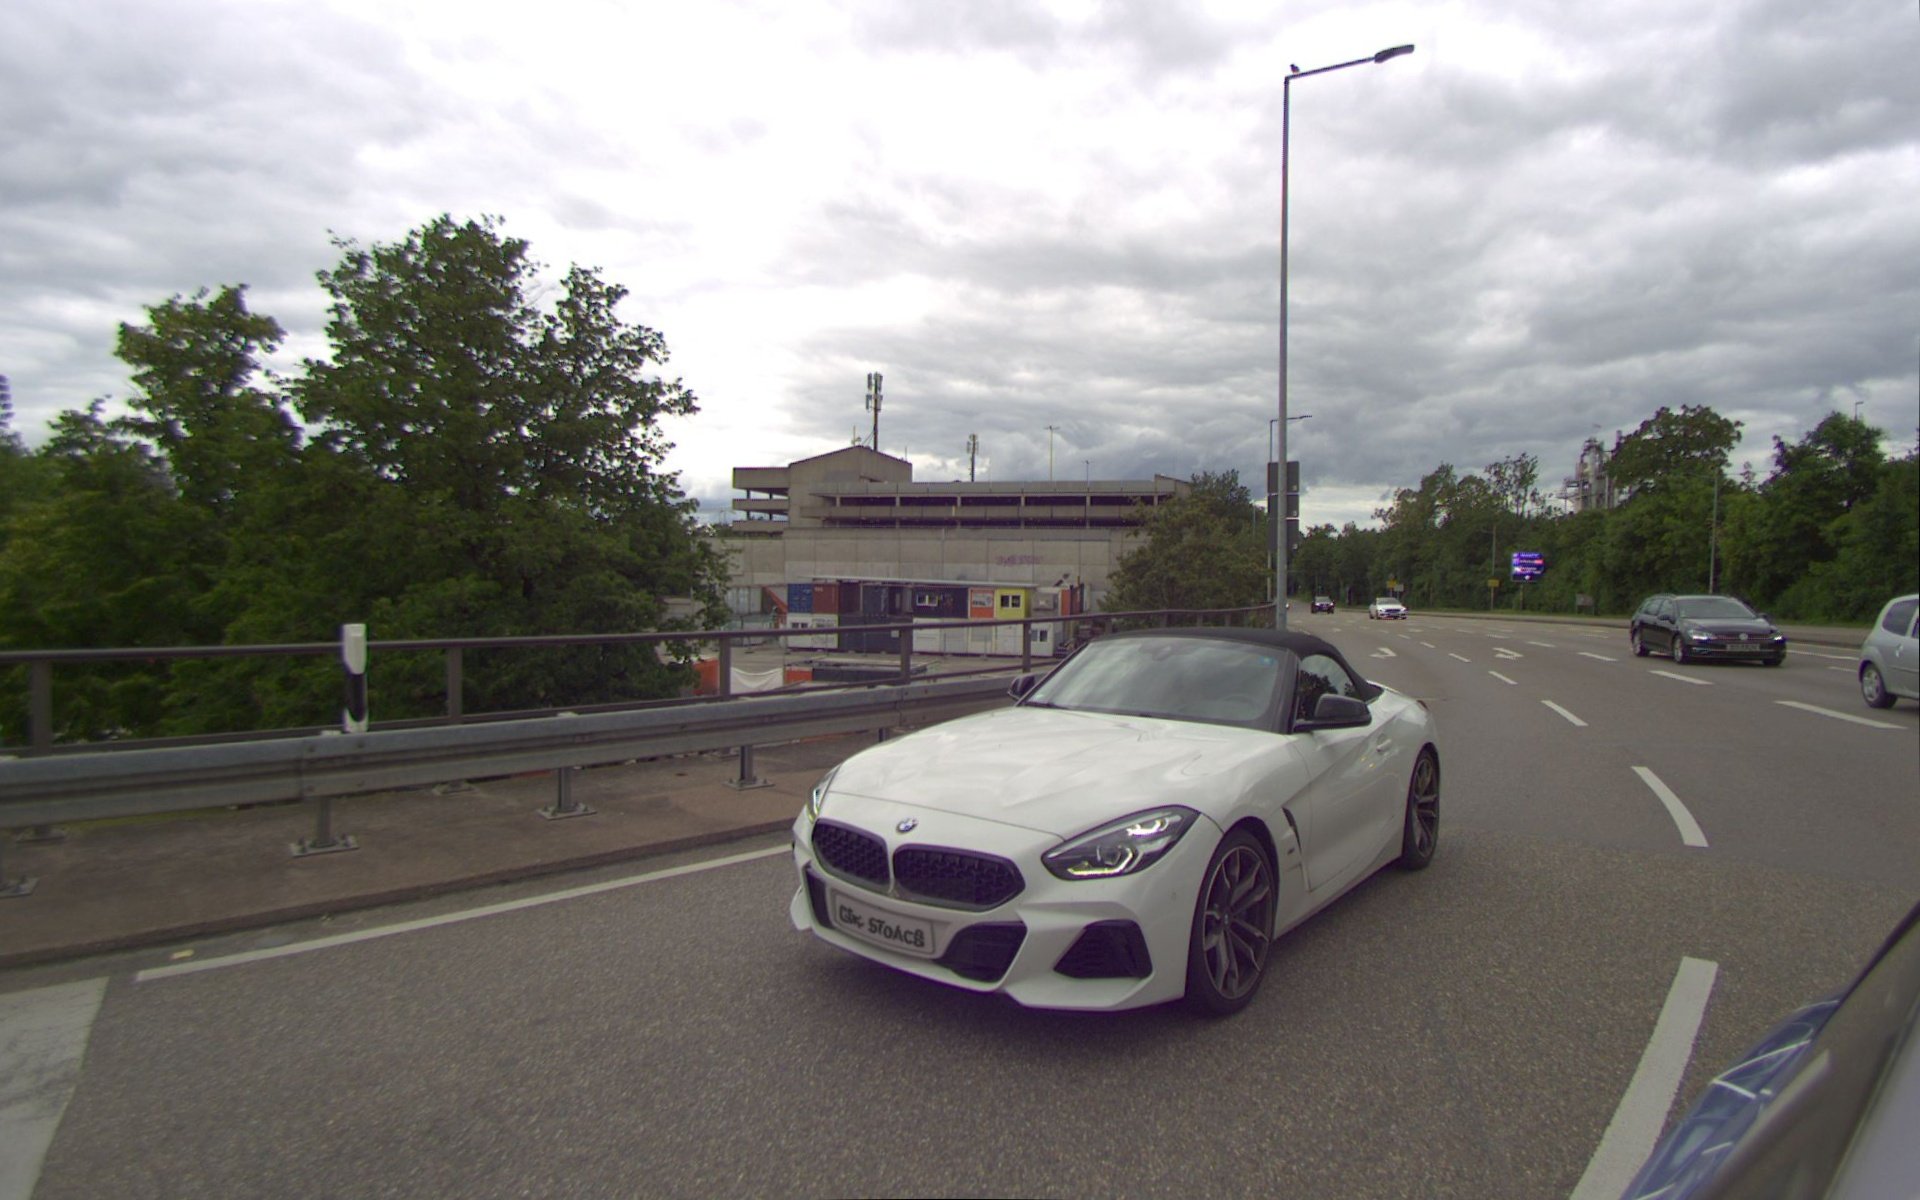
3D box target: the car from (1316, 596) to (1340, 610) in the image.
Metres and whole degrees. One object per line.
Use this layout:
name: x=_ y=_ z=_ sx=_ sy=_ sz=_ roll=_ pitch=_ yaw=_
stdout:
car: x=36.919 y=0.288 z=101.694 sx=1.839 sy=1.434 sz=4.319 roll=0 pitch=0 yaw=14

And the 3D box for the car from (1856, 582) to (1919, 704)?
car: x=11.853 y=0.501 z=11.283 sx=1.591 sy=1.434 sz=3.566 roll=0 pitch=0 yaw=21

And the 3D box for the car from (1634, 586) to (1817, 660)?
car: x=16.241 y=0.424 z=21.753 sx=1.842 sy=1.434 sz=4.312 roll=0 pitch=0 yaw=19

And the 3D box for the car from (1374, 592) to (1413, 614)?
car: x=28.812 y=0.162 z=67.388 sx=1.840 sy=1.434 sz=4.317 roll=0 pitch=0 yaw=16

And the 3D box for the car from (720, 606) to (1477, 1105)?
car: x=1.077 y=0.730 z=5.046 sx=1.802 sy=1.308 sz=4.202 roll=-1 pitch=1 yaw=40

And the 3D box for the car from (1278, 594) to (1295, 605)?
car: x=52.345 y=-0.073 z=162.172 sx=1.968 sy=1.728 sz=3.986 roll=-3 pitch=-2 yaw=11
